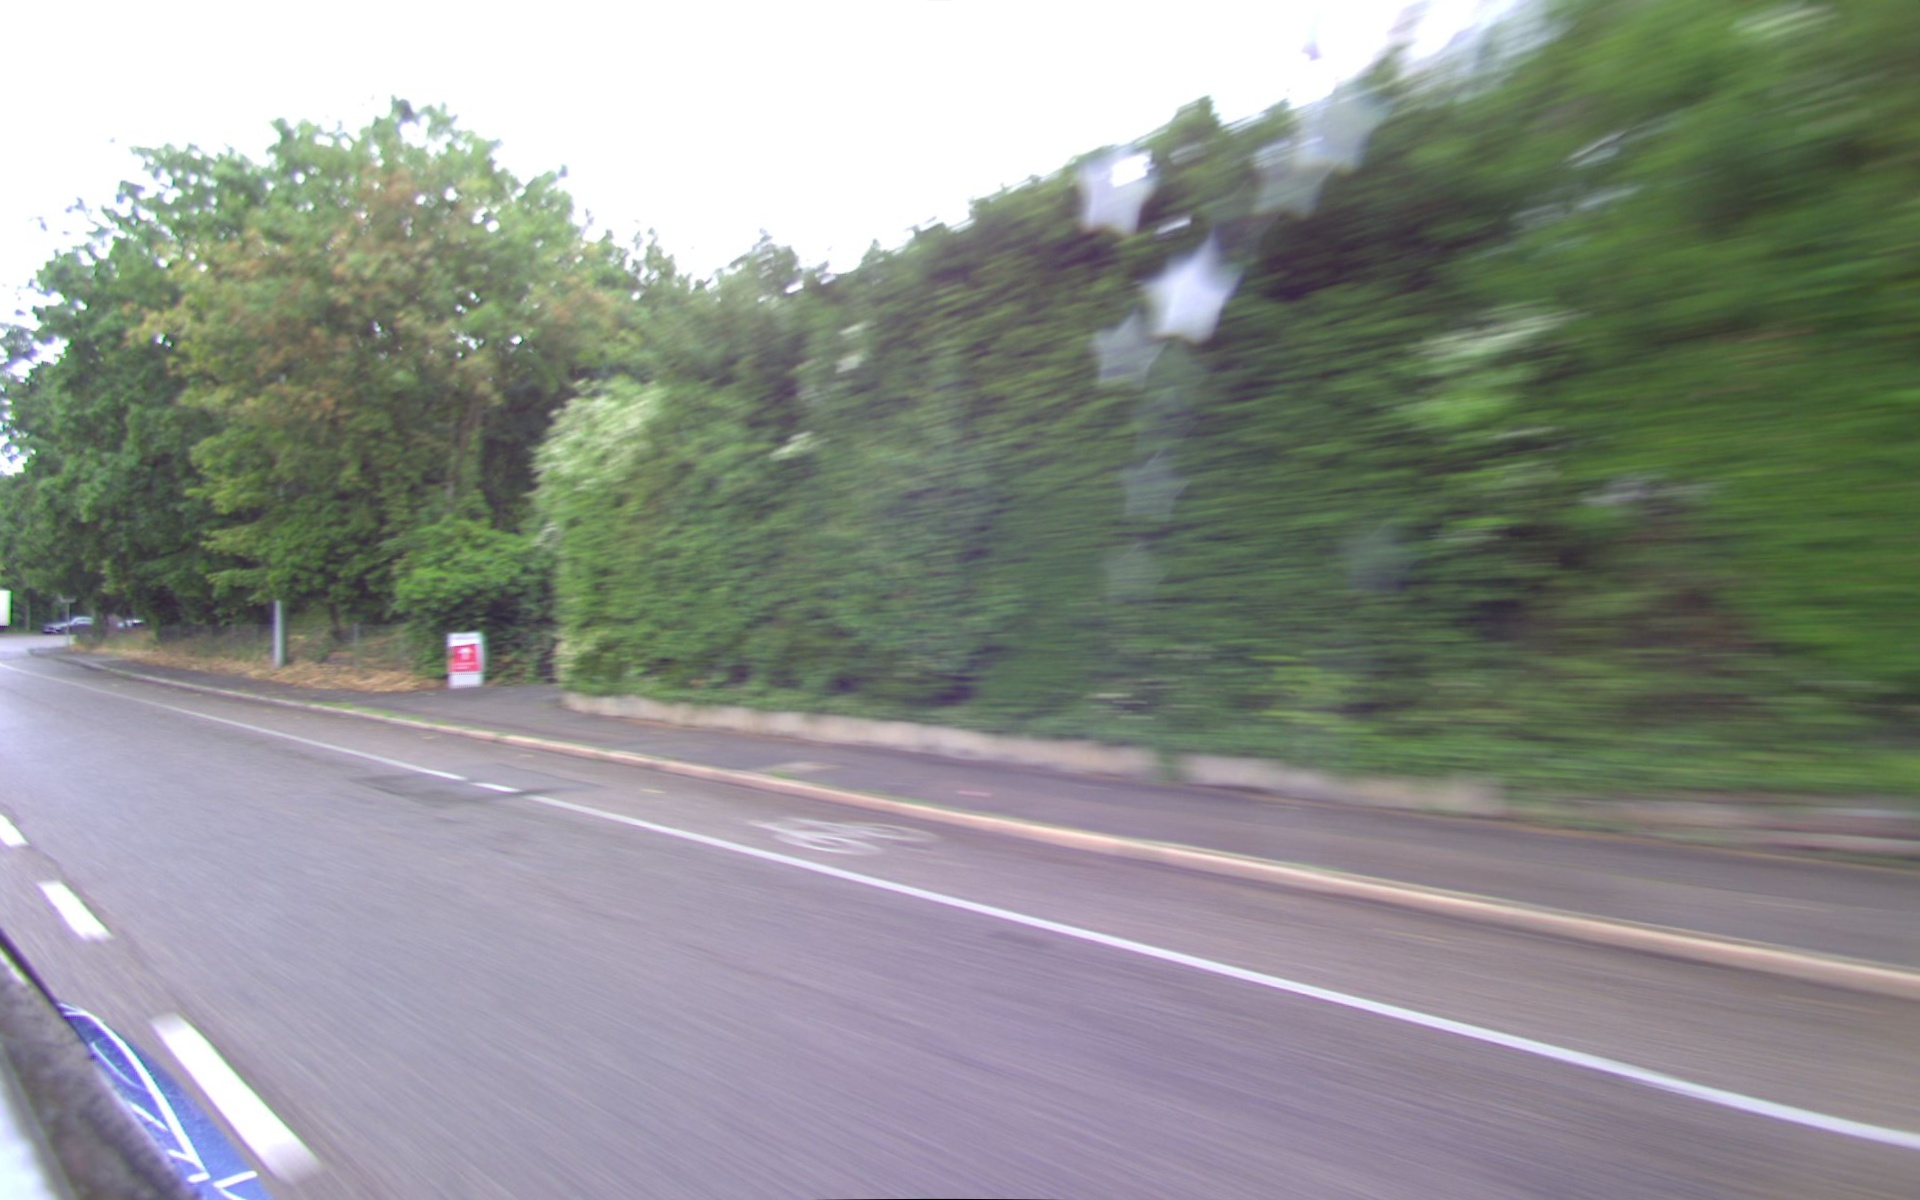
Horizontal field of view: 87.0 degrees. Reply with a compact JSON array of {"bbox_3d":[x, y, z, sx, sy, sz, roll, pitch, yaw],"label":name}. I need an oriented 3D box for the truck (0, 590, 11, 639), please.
[{"bbox_3d":[-72.835,1.064,72.477,2.968,3.601,8.353,0,0,-9],"label":"truck"}]

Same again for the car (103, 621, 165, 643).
[{"bbox_3d":[-60.304,2.327,73.985,1.750,1.454,4.023,0,0,-9],"label":"car"}]

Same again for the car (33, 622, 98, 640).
[{"bbox_3d":[-74.007,2.526,83.813,1.703,1.455,4.122,0,-1,2],"label":"car"}]
